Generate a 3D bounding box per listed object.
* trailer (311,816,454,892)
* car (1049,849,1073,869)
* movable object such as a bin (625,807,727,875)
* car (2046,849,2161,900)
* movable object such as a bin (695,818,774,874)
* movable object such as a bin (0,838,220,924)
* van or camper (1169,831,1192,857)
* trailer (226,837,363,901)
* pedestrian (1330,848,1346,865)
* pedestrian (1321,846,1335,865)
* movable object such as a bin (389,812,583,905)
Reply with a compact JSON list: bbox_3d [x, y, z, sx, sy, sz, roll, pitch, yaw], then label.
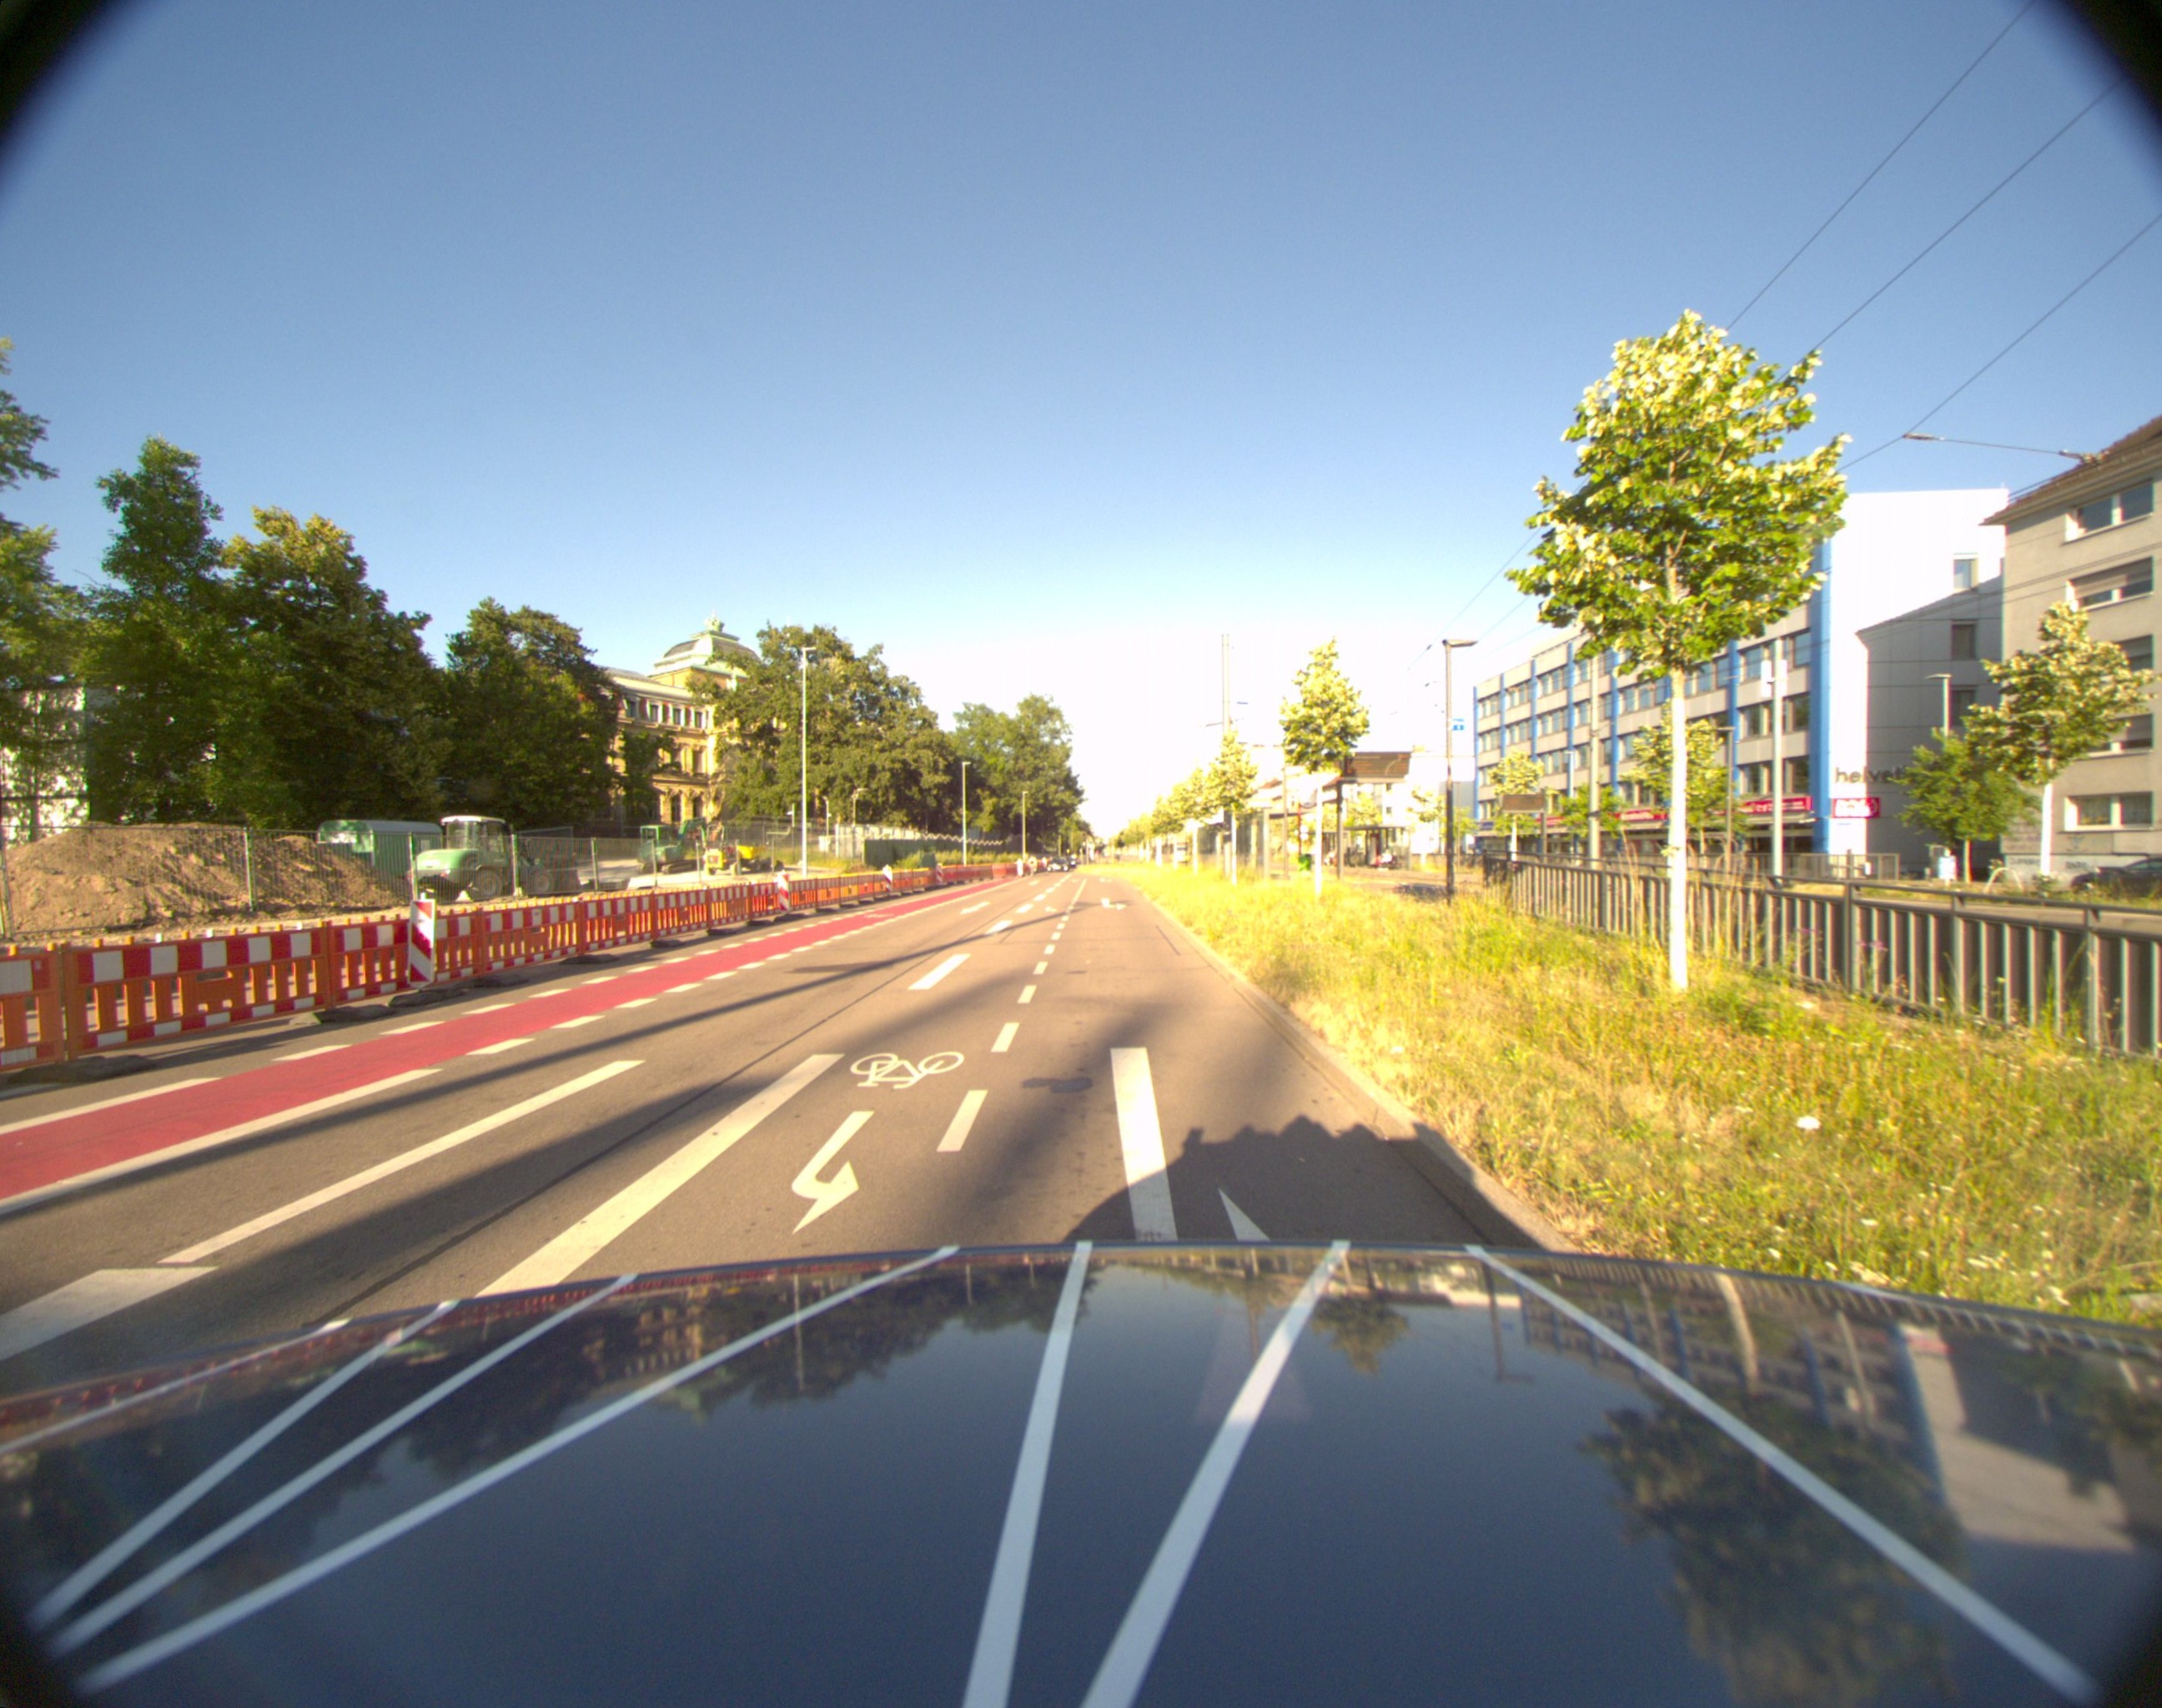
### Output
[{"bbox_3d":[-31.495,-0.080,34.485,2.616,3.075,3.981,0,6,-2],"label":"trailer"},{"bbox_3d":[-1.832,0.466,71.448,2.080,1.827,4.000,-1,1,0],"label":"car"},{"bbox_3d":[-22.455,-0.677,42.448,2.280,3.537,5.501,-1,1,6],"label":"movable object such as a bin"},{"bbox_3d":[33.306,0.621,23.234,1.998,1.499,4.431,0,0,1],"label":"car"},{"bbox_3d":[-18.689,-0.409,41.218,1.997,2.887,4.002,-1,1,8],"label":"movable object such as a bin"},{"bbox_3d":[-30.091,0.766,23.028,5.044,2.311,2.221,0,6,-2],"label":"movable object such as a bin"},{"bbox_3d":[12.835,-1.263,98.557,2.510,3.149,7.477,-1,0,4],"label":"van or camper"},{"bbox_3d":[-31.627,0.573,30.665,2.954,2.311,2.221,0,6,-2],"label":"trailer"},{"bbox_3d":[18.779,0.188,55.515,0.936,1.190,0.764,0,1,1],"label":"pedestrian"},{"bbox_3d":[18.872,0.095,58.085,0.840,1.402,0.804,0,1,1],"label":"pedestrian"},{"bbox_3d":[-19.000,0.129,24.655,2.281,2.688,4.942,-1,0,1],"label":"movable object such as a bin"}]
